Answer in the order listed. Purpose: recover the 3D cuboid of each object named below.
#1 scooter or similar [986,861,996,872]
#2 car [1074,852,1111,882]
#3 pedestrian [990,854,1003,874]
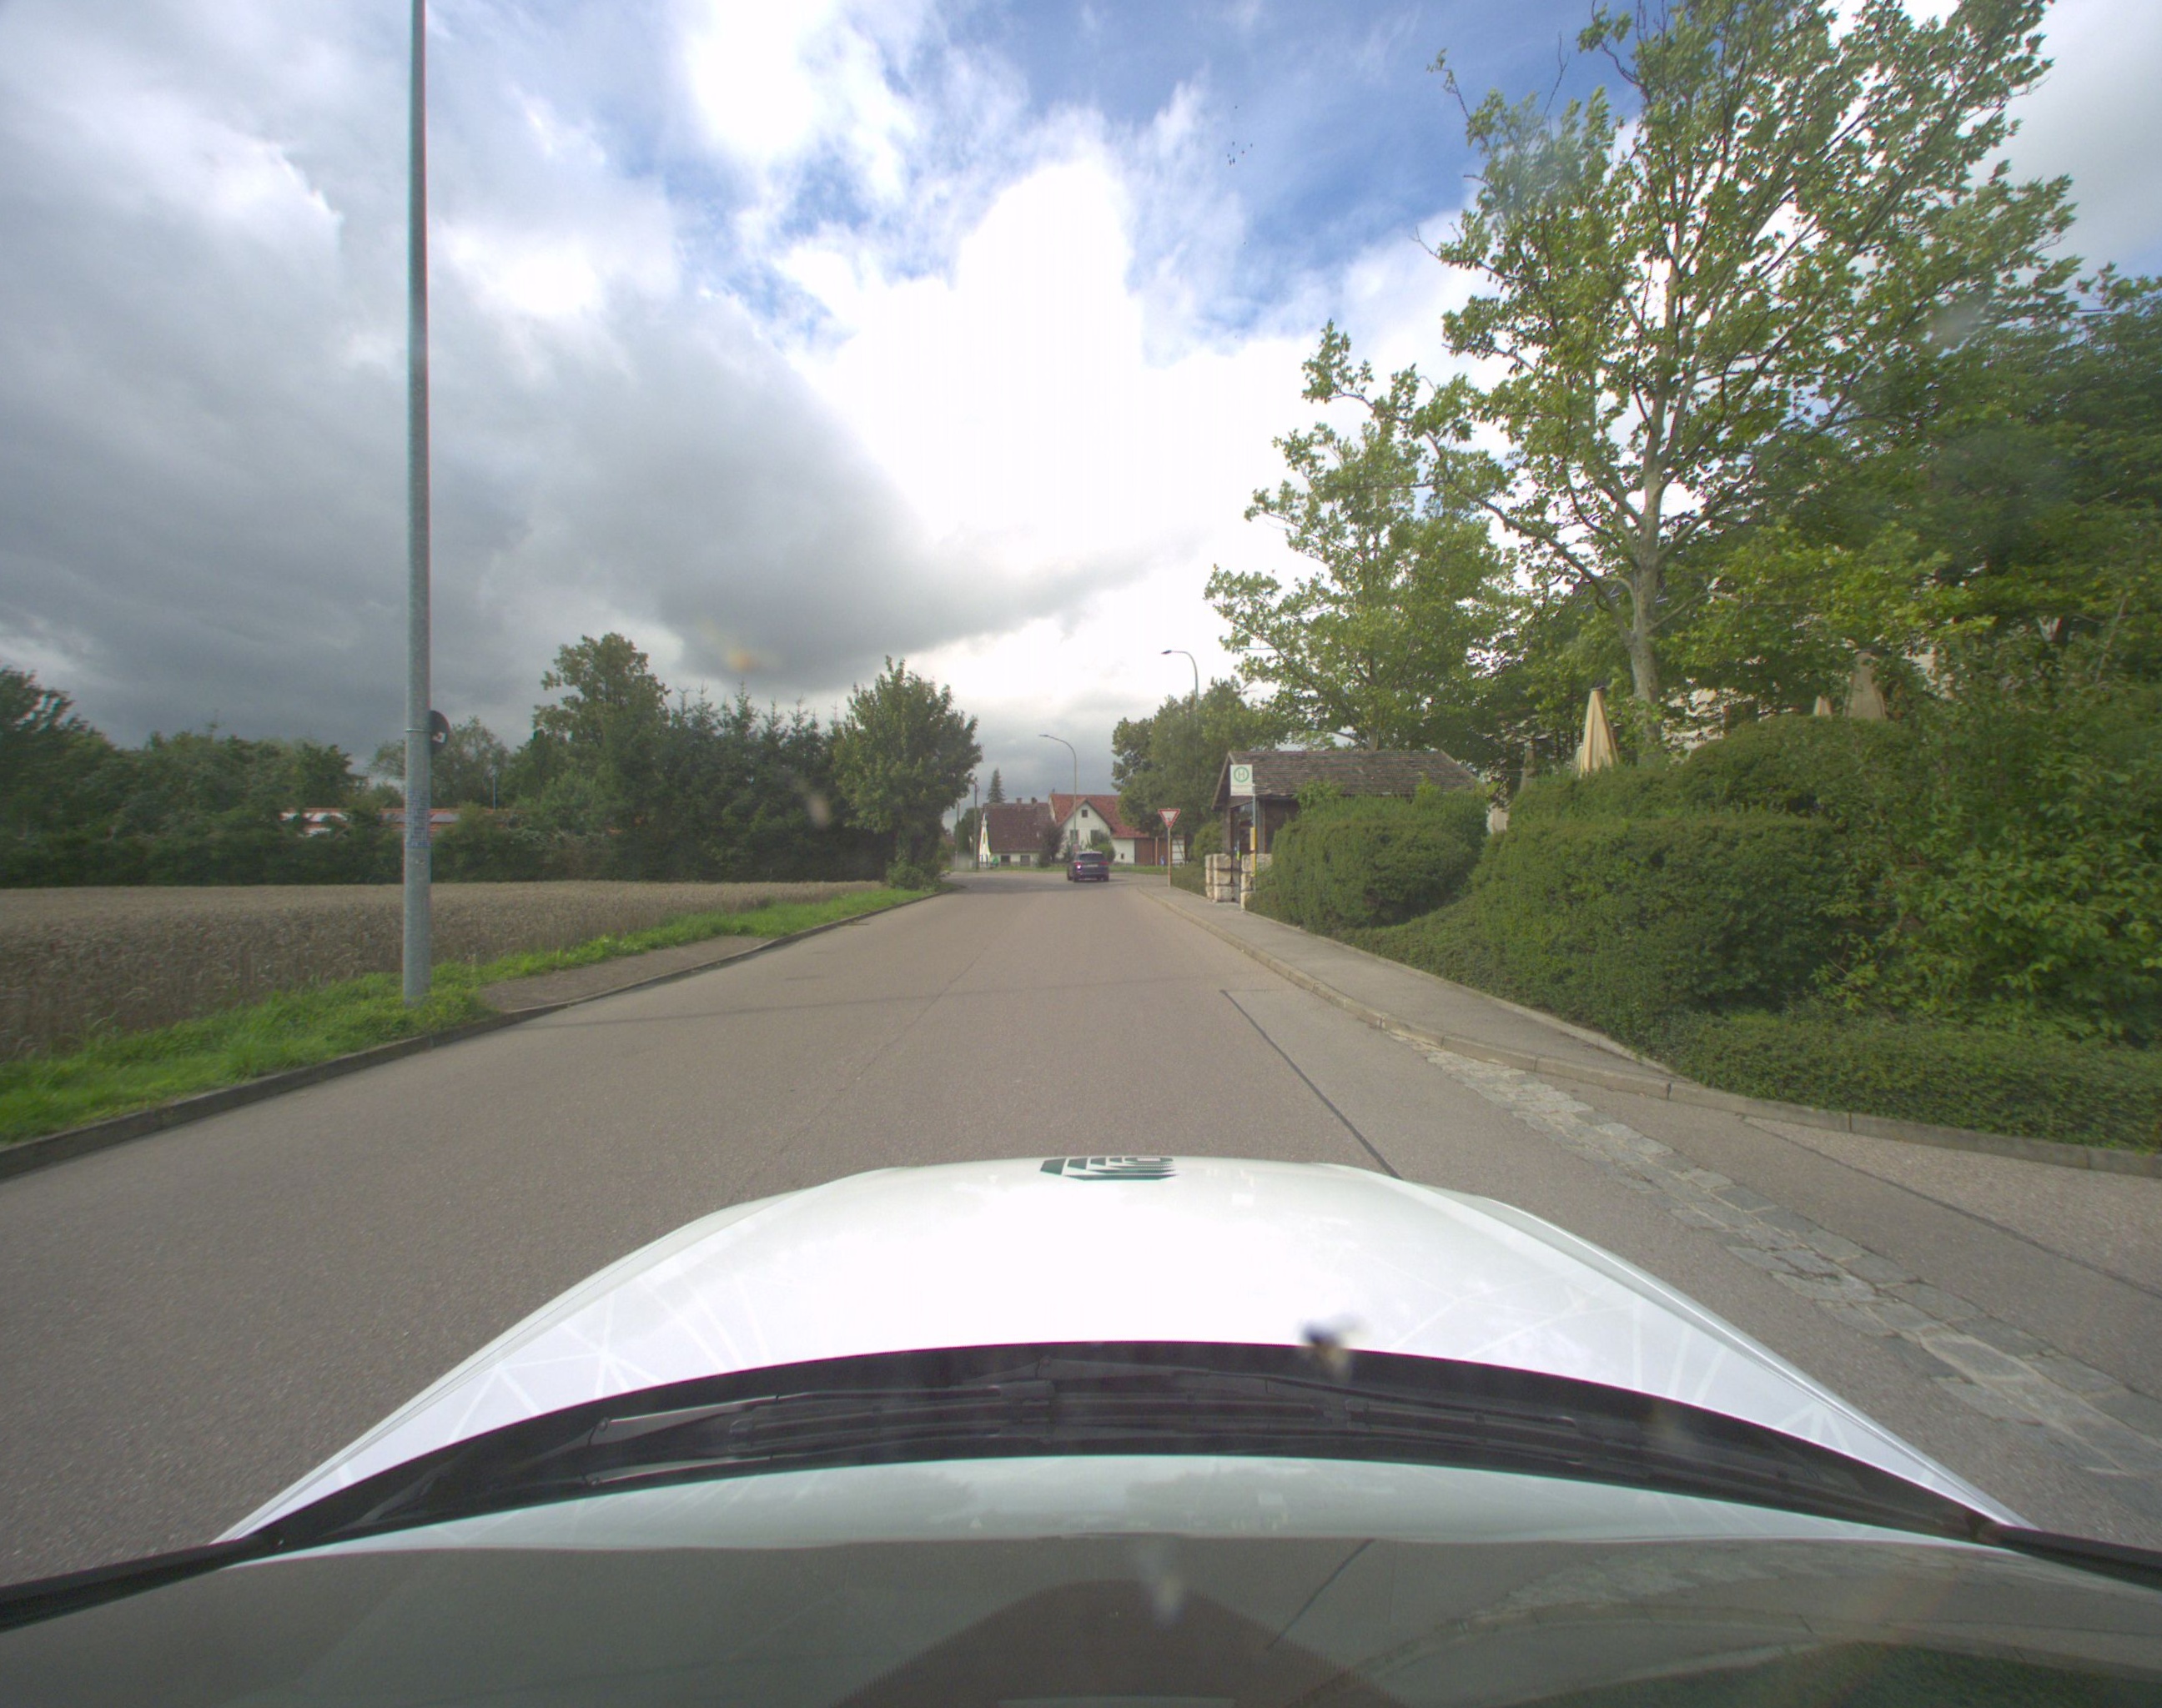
[{"bbox_3d":[-8.021,1.103,72.876,0.635,0.948,0.616,5,-3,-33],"label":"scooter or similar"},{"bbox_3d":[0.541,0.642,41.948,1.793,1.462,3.661,-1,0,-1],"label":"car"},{"bbox_3d":[-7.525,0.878,72.355,0.794,1.665,0.705,5,-3,-33],"label":"pedestrian"}]
